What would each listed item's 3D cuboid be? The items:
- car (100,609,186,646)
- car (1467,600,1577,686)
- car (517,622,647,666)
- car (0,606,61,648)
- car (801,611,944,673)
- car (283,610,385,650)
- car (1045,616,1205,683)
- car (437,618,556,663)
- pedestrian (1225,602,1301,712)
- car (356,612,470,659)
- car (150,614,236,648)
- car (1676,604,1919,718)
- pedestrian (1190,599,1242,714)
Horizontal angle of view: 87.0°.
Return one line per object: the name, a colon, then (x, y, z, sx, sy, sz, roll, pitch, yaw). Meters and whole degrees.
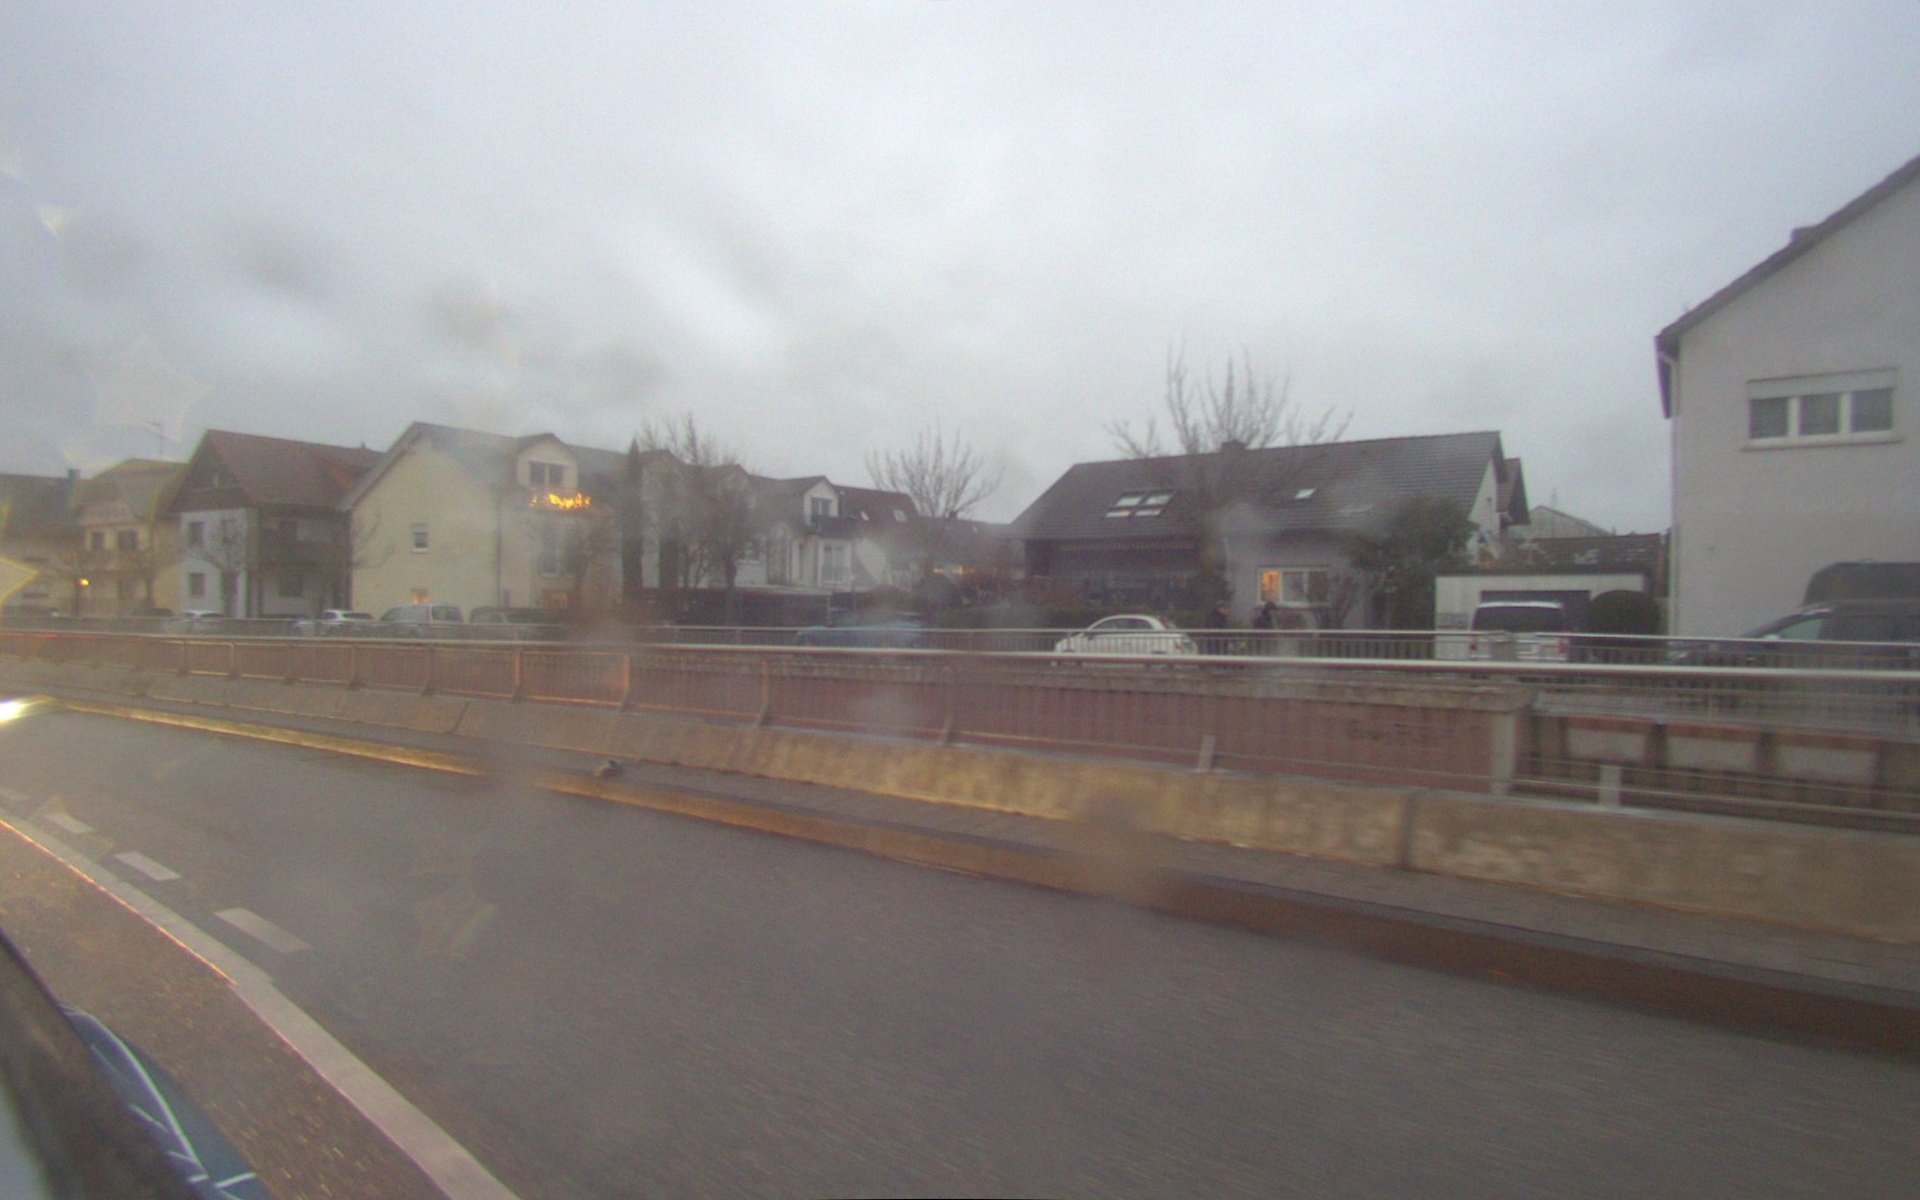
car: (-40.853, 1.367, 50.597, 3.980, 1.694, 1.848, 0, 2, 27)
car: (12.440, 0.935, 22.302, 1.859, 1.707, 3.955, -1, -2, 33)
car: (-13.245, 1.526, 35.400, 4.484, 1.444, 1.860, -1, -3, 31)
car: (-42.582, 1.180, 45.503, 3.837, 1.817, 1.791, 0, -1, 24)
car: (-2.480, 1.154, 28.369, 3.807, 1.592, 1.553, 0, -2, 31)
car: (-26.900, 1.302, 43.478, 4.206, 1.610, 1.862, -1, -3, 29)
car: (3.866, 1.106, 23.903, 3.451, 1.438, 1.469, 0, 0, 35)
car: (-17.442, 1.517, 38.067, 4.484, 1.584, 1.860, -1, -3, 31)
pedestrian: (5.151, 0.937, 17.192, 0.971, 1.798, 0.919, -1, 0, 37)
car: (-21.950, 1.424, 40.589, 4.481, 1.792, 1.862, -1, -3, 29)
car: (-37.080, 1.473, 48.936, 4.012, 1.535, 1.758, 0, -1, 27)
car: (14.112, 0.930, 16.244, 4.208, 1.695, 1.894, -1, -1, 35)
pedestrian: (3.932, 0.844, 15.548, 0.540, 1.710, 0.657, -1, 0, 37)
